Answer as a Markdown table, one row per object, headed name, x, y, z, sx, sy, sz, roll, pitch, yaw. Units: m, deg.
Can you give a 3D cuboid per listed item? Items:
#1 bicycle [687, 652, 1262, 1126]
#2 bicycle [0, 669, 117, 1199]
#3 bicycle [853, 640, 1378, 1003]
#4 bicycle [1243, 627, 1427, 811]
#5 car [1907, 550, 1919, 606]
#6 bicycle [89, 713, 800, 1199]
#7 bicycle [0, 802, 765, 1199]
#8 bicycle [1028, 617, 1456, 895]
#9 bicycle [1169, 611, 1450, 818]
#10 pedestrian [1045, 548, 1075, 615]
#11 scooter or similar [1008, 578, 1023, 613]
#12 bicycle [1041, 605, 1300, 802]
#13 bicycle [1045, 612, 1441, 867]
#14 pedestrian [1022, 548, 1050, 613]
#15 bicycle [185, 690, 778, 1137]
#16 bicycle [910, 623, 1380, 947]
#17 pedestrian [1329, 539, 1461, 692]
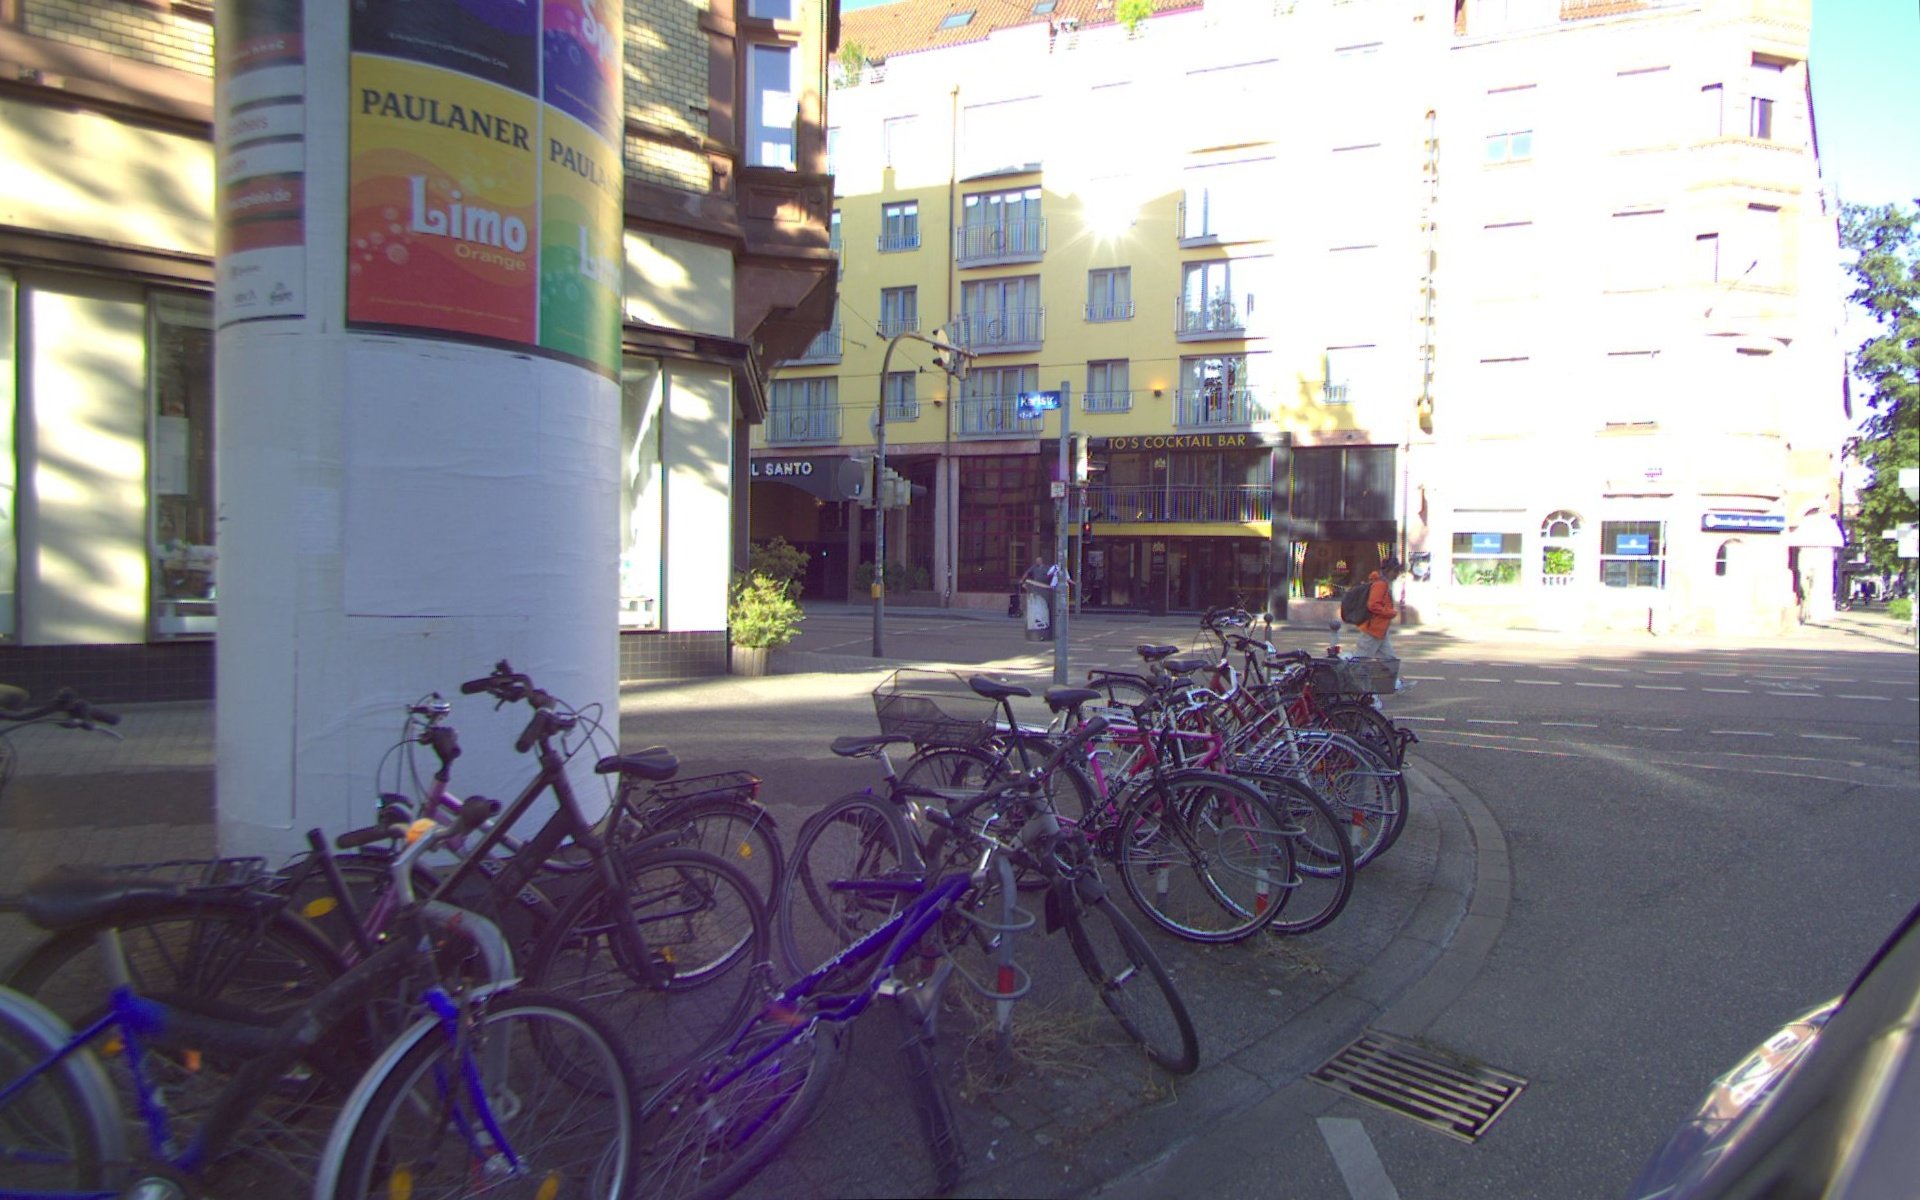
| name | x | y | z | sx | sy | sz | roll | pitch | yaw |
| --- | --- | --- | --- | --- | --- | --- | --- | --- | --- |
| bicycle | -0.055 | 0.790 | 3.348 | 1.924 | 0.999 | 0.491 | 5 | 5 | 34 |
| bicycle | -2.505 | 0.790 | 2.603 | 0.348 | 0.938 | 1.938 | -1 | 5 | -35 |
| bicycle | 0.564 | 0.782 | 3.996 | 1.912 | 1.064 | 0.500 | 4 | 4 | 19 |
| bicycle | 2.495 | 0.737 | 6.723 | 0.992 | 1.039 | 0.730 | 2 | 2 | 34 |
| car | 57.407 | -1.236 | 58.246 | 3.308 | 3.218 | 7.975 | 2 | 2 | 37 |
| bicycle | -1.193 | 0.824 | 2.576 | 1.494 | 0.938 | 0.355 | 0 | 4 | -27 |
| bicycle | -1.110 | 0.915 | 1.967 | 1.385 | 0.938 | 0.355 | 2 | 4 | -4 |
| bicycle | 1.334 | 0.714 | 5.025 | 1.910 | 1.106 | 0.423 | 3 | 4 | 17 |
| bicycle | 2.022 | 0.660 | 5.930 | 1.448 | 1.106 | 0.426 | 2 | 4 | -5 |
| pedestrian | 2.902 | -0.544 | 29.346 | 0.726 | 1.862 | 0.723 | 1 | 5 | 20 |
| scooter or similar | 1.651 | -0.142 | 29.937 | 0.352 | 0.988 | 0.421 | 1 | 5 | 18 |
| bicycle | 1.297 | 0.635 | 6.405 | 1.448 | 1.106 | 0.575 | 2 | 4 | -3 |
| bicycle | 1.457 | 0.693 | 5.424 | 1.910 | 1.106 | 0.423 | 3 | 4 | 17 |
| pedestrian | 2.253 | -0.582 | 30.000 | 0.670 | 1.862 | 0.723 | 1 | 5 | 20 |
| bicycle | -1.314 | 0.804 | 2.975 | 1.496 | 0.938 | 0.355 | -1 | 5 | -34 |
| bicycle | 0.759 | 0.736 | 4.441 | 1.912 | 1.106 | 0.423 | 4 | 4 | 19 |
| pedestrian | 5.097 | 0.155 | 11.950 | 1.154 | 1.700 | 1.006 | 1 | 1 | 8 |
